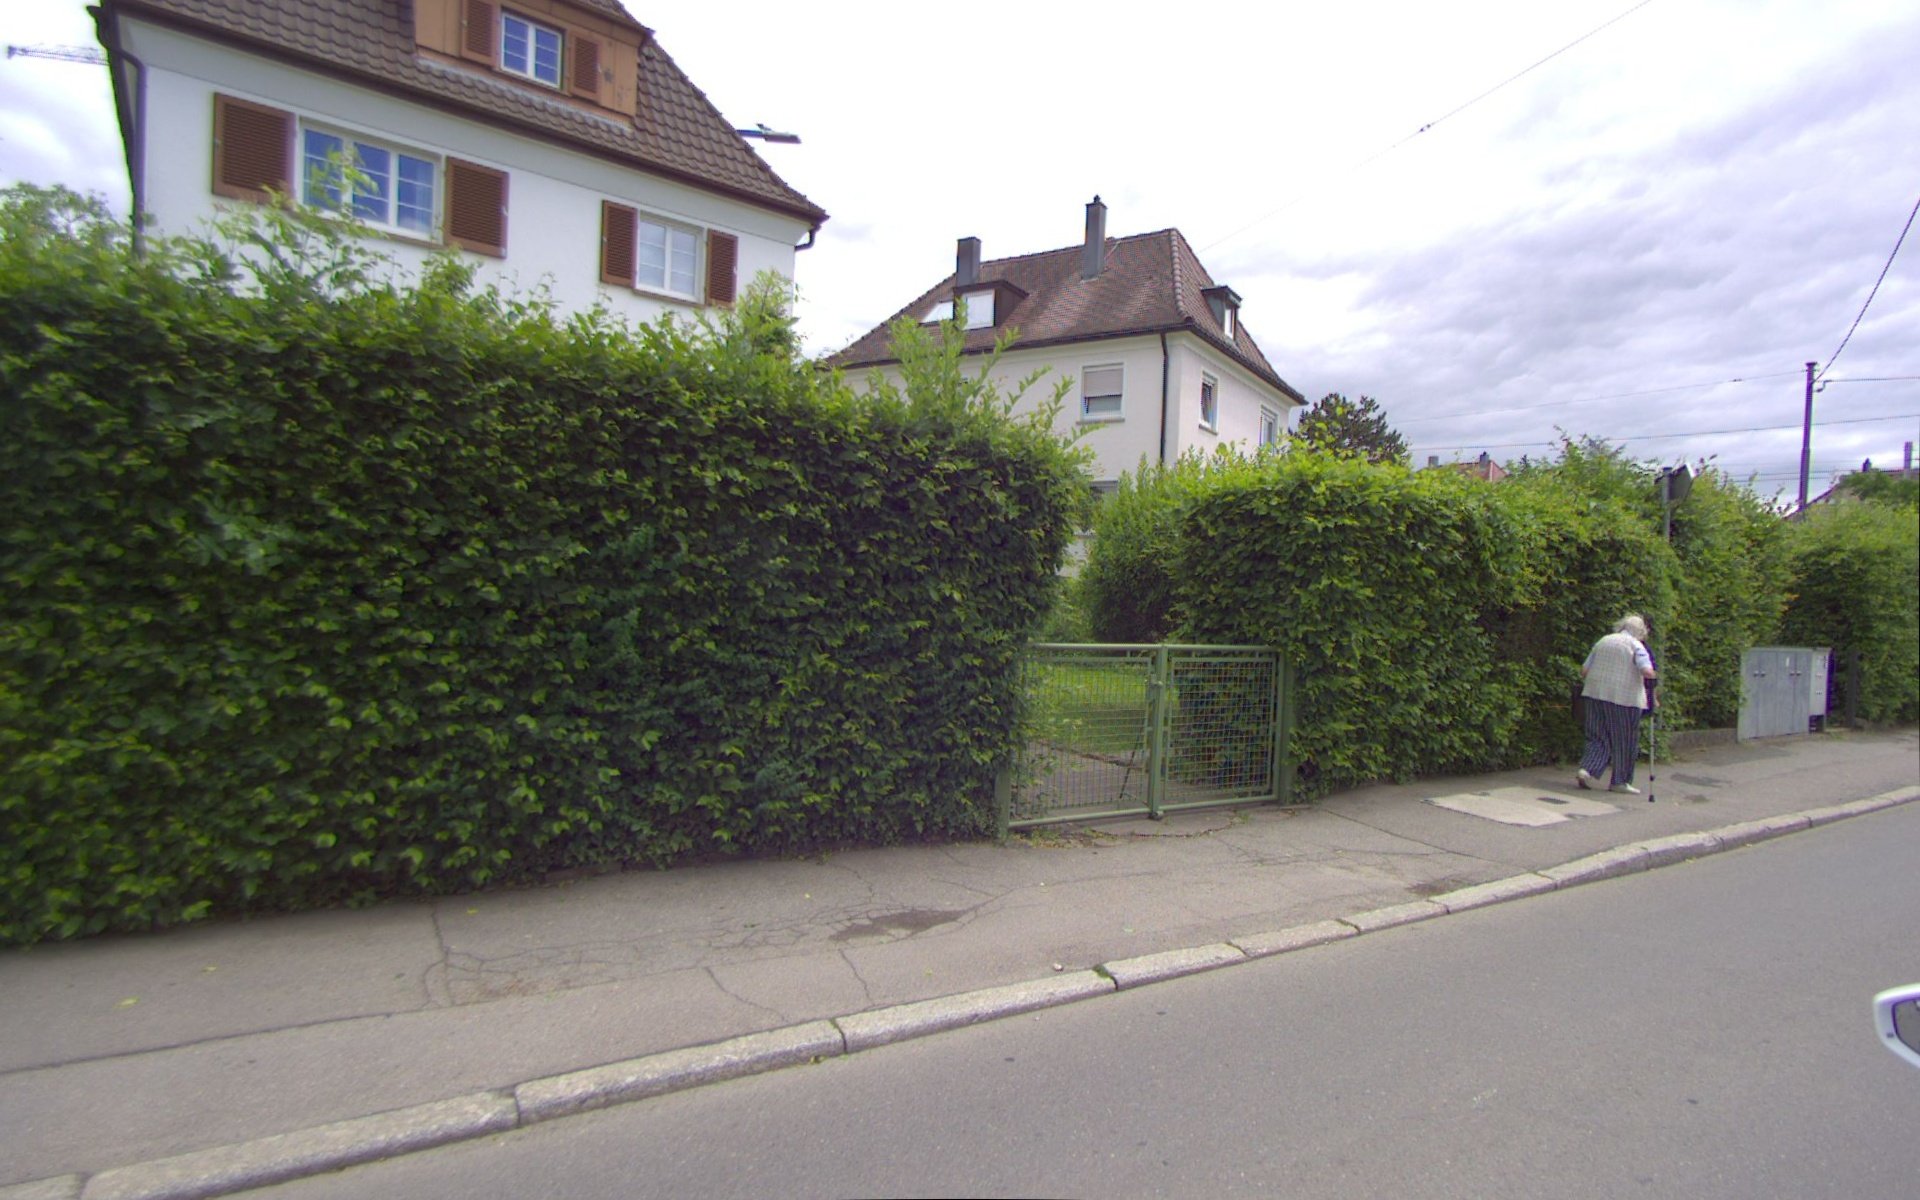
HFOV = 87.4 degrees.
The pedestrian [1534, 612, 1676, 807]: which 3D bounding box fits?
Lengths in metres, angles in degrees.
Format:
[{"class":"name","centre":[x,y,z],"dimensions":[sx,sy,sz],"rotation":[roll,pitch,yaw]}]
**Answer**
[{"class":"pedestrian","centre":[5.448,0.883,8.494],"dimensions":[0.865,1.505,0.453],"rotation":[5,2,40]}]
